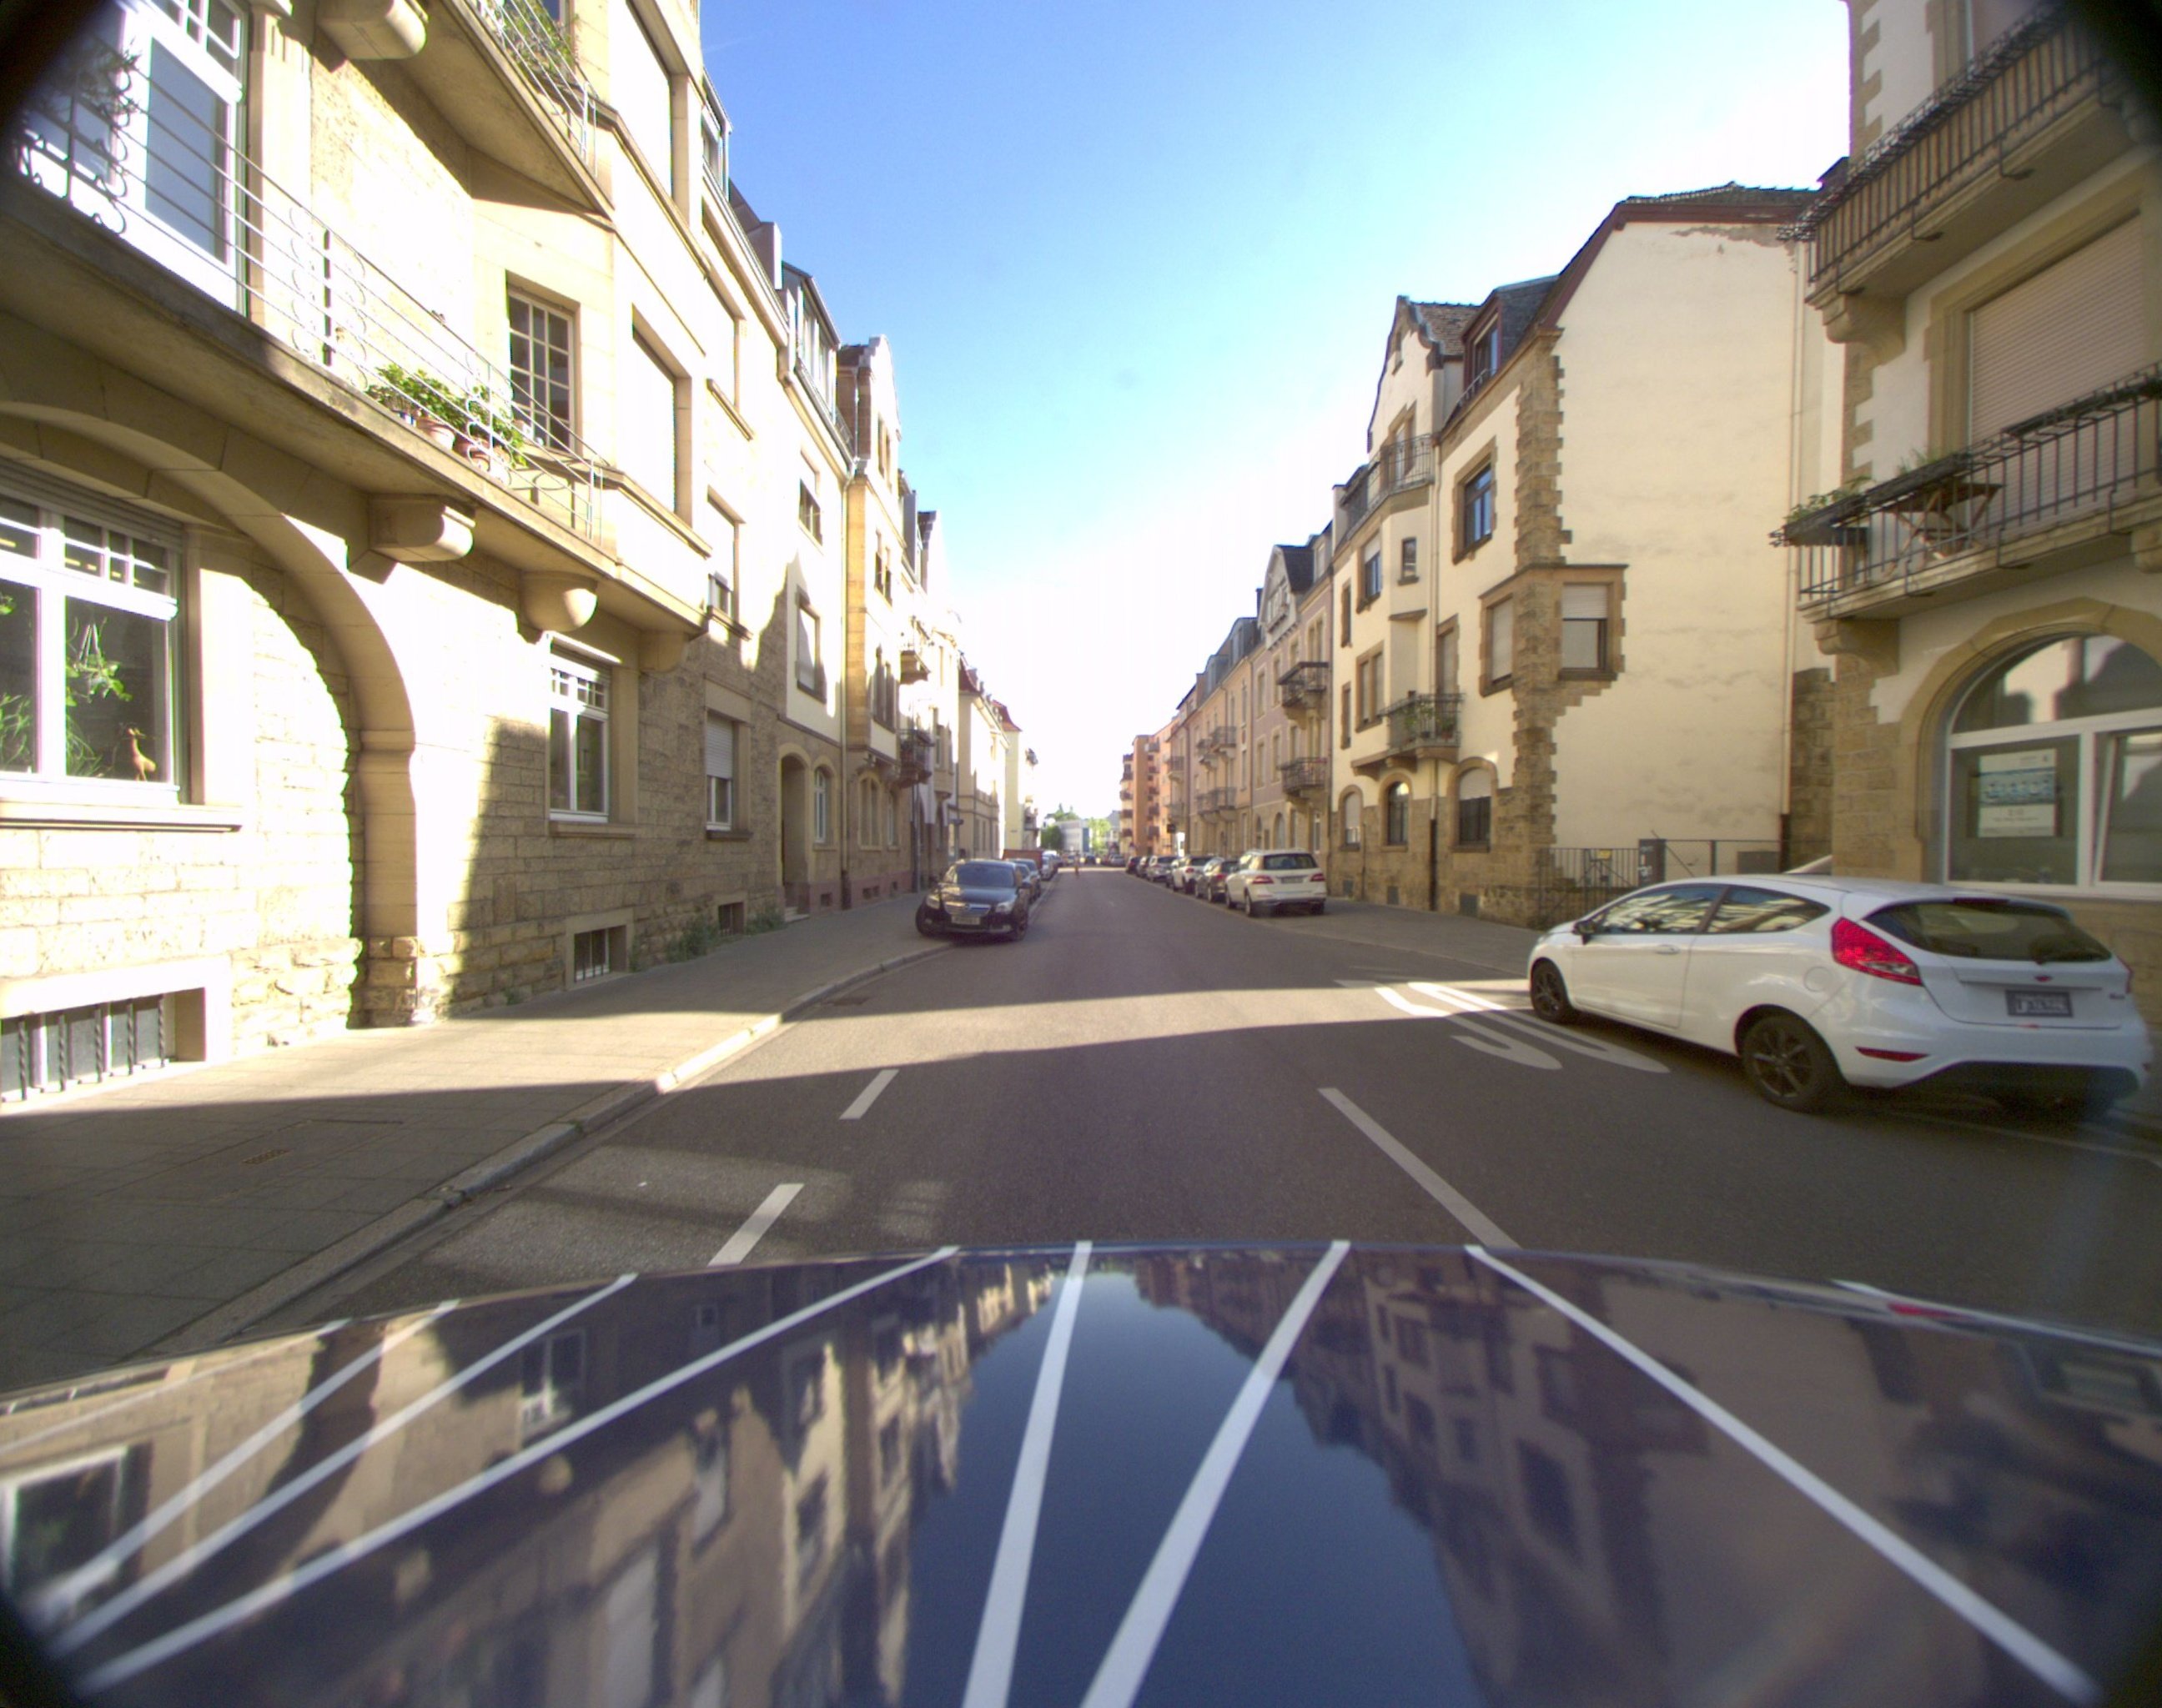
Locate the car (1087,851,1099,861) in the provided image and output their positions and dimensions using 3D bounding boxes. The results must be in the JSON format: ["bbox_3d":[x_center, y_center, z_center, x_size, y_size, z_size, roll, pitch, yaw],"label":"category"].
[{"bbox_3d":[1.769,0.289,111.614,1.656,1.449,3.642,0,1,-1],"label":"car"}]

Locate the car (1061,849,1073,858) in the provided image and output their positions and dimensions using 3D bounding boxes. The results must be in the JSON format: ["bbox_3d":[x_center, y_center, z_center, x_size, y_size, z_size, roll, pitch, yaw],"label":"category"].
[{"bbox_3d":[-2.552,-0.099,139.263,2.005,1.500,4.320,1,1,-1],"label":"car"}]

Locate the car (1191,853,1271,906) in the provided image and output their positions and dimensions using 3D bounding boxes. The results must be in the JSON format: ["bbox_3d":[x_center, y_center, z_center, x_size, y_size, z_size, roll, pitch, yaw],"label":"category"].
[{"bbox_3d":[5.126,0.821,26.541,1.890,1.500,4.320,-4,1,1],"label":"car"}]

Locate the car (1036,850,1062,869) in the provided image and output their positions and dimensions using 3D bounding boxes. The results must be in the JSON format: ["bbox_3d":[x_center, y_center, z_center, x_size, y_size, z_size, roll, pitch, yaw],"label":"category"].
[{"bbox_3d":[-2.666,0.451,64.495,2.005,1.500,4.320,1,1,-1],"label":"car"}]

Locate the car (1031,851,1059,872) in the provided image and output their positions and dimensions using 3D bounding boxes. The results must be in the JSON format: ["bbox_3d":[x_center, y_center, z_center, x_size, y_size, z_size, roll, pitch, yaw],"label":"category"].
[{"bbox_3d":[-2.739,0.535,58.662,2.005,1.500,4.320,1,1,-1],"label":"car"}]

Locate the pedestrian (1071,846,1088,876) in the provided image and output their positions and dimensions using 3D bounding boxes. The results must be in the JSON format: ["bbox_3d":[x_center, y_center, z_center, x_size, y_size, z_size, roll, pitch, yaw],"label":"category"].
[{"bbox_3d":[-0.119,0.454,51.459,0.952,2.002,1.067,-2,1,5],"label":"pedestrian"}]

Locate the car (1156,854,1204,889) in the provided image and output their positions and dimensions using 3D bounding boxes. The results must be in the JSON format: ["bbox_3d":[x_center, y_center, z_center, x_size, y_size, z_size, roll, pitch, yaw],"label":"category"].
[{"bbox_3d":[4.860,0.817,37.802,1.857,1.491,4.318,-2,1,1],"label":"car"}]

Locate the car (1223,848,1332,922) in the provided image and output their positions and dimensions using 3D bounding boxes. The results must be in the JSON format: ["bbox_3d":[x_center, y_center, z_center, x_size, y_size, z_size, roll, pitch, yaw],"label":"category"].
[{"bbox_3d":[5.199,0.752,20.722,1.890,1.717,4.211,-2,1,1],"label":"car"}]

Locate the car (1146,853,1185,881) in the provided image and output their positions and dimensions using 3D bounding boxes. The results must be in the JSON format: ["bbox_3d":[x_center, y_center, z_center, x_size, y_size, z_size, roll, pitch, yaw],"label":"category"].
[{"bbox_3d":[5.026,0.733,45.828,1.890,1.500,4.320,-2,1,1],"label":"car"}]

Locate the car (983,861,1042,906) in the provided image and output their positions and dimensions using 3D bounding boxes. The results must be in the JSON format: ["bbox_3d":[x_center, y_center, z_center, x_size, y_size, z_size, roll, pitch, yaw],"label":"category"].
[{"bbox_3d":[-2.230,0.926,25.374,1.661,1.272,3.729,1,1,-1],"label":"car"}]

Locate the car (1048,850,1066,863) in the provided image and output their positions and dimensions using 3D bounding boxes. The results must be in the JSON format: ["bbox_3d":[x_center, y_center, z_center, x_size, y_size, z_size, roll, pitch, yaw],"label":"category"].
[{"bbox_3d":[-2.837,0.265,88.975,2.005,1.500,4.320,1,1,-1],"label":"car"}]

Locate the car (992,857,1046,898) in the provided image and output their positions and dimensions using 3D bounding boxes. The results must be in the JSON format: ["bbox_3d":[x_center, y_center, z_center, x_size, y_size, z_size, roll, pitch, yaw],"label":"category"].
[{"bbox_3d":[-2.381,0.890,30.116,1.824,1.415,4.320,1,1,-1],"label":"car"}]

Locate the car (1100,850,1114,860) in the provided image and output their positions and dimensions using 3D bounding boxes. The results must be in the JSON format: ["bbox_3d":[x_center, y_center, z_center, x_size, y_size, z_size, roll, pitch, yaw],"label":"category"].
[{"bbox_3d":[3.967,0.186,116.755,2.005,1.500,4.320,1,1,-1],"label":"car"}]

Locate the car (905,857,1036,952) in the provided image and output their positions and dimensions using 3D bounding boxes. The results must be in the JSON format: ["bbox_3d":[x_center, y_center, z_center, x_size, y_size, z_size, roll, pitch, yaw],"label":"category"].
[{"bbox_3d":[-2.034,0.881,15.221,2.024,1.500,4.111,2,1,-1],"label":"car"}]

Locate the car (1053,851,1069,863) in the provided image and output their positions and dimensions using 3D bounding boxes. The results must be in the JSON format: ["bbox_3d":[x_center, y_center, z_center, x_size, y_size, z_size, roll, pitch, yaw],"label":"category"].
[{"bbox_3d":[-2.575,0.429,99.949,2.005,1.500,4.320,1,1,-1],"label":"car"}]

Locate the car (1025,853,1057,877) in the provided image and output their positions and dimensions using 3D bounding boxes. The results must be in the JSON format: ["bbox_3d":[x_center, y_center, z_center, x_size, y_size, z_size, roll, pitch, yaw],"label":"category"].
[{"bbox_3d":[-2.743,0.736,52.637,2.005,1.500,4.320,1,1,-1],"label":"car"}]

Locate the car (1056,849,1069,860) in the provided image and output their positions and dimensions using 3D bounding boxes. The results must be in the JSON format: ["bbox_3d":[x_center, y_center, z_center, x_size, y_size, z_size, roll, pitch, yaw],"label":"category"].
[{"bbox_3d":[-2.932,0.066,123.332,2.005,1.722,4.320,1,1,-1],"label":"car"}]

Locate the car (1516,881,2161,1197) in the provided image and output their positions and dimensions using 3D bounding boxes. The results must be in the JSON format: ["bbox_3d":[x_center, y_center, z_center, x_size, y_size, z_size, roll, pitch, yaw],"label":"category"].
[{"bbox_3d":[5.114,1.015,5.695,1.656,1.449,3.643,2,0,2],"label":"car"}]

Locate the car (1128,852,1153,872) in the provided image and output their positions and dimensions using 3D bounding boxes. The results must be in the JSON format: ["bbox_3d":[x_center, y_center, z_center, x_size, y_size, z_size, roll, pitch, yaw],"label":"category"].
[{"bbox_3d":[4.898,0.641,62.969,1.793,1.500,4.320,-2,1,1],"label":"car"}]

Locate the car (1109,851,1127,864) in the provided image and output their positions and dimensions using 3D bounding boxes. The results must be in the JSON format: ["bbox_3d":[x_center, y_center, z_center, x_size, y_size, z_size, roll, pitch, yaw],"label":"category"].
[{"bbox_3d":[4.630,0.391,96.202,2.005,1.500,4.320,1,1,-1],"label":"car"}]

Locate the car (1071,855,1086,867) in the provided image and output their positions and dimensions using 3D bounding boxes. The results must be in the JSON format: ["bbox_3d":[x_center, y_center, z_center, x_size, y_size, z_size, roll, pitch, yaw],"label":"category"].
[{"bbox_3d":[-0.340,0.927,100.209,2.005,1.500,4.320,1,1,-1],"label":"car"}]

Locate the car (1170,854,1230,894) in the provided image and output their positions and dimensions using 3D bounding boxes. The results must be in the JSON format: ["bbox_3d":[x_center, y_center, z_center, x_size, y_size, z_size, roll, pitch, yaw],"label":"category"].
[{"bbox_3d":[4.988,0.795,32.362,1.890,1.500,4.320,-2,1,1],"label":"car"}]

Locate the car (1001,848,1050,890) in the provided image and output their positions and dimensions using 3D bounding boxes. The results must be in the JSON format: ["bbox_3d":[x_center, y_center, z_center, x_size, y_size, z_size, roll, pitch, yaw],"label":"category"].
[{"bbox_3d":[-2.555,0.649,35.806,2.005,1.828,4.320,1,1,-1],"label":"car"}]

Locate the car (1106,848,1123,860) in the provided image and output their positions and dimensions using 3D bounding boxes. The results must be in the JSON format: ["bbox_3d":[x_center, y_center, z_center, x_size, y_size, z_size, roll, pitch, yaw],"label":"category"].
[{"bbox_3d":[4.526,0.002,101.953,2.005,1.500,4.320,1,1,-1],"label":"car"}]

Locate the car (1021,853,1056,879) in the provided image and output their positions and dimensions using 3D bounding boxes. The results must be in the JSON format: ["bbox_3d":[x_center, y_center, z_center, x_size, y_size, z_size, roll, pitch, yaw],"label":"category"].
[{"bbox_3d":[-2.648,0.716,47.863,2.005,1.500,4.320,1,1,-1],"label":"car"}]

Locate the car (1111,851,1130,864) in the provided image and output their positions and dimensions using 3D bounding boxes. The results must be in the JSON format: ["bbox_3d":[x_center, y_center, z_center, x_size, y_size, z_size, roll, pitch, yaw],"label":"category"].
[{"bbox_3d":[4.680,0.407,91.387,2.005,1.500,4.320,1,1,-1],"label":"car"}]

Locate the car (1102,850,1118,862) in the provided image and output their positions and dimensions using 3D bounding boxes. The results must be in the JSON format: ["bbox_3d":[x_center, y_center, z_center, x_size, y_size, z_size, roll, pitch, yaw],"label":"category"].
[{"bbox_3d":[4.120,0.286,107.247,2.005,1.500,4.320,1,1,-1],"label":"car"}]

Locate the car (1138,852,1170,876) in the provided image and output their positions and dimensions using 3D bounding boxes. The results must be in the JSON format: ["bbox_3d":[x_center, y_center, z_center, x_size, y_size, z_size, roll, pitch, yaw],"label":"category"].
[{"bbox_3d":[4.997,0.668,52.346,1.809,1.500,4.003,-2,1,1],"label":"car"}]

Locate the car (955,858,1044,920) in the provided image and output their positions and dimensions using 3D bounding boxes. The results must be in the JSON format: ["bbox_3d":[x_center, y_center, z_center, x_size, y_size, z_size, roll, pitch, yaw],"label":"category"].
[{"bbox_3d":[-2.094,0.873,20.795,2.005,1.499,4.321,1,0,-1],"label":"car"}]
